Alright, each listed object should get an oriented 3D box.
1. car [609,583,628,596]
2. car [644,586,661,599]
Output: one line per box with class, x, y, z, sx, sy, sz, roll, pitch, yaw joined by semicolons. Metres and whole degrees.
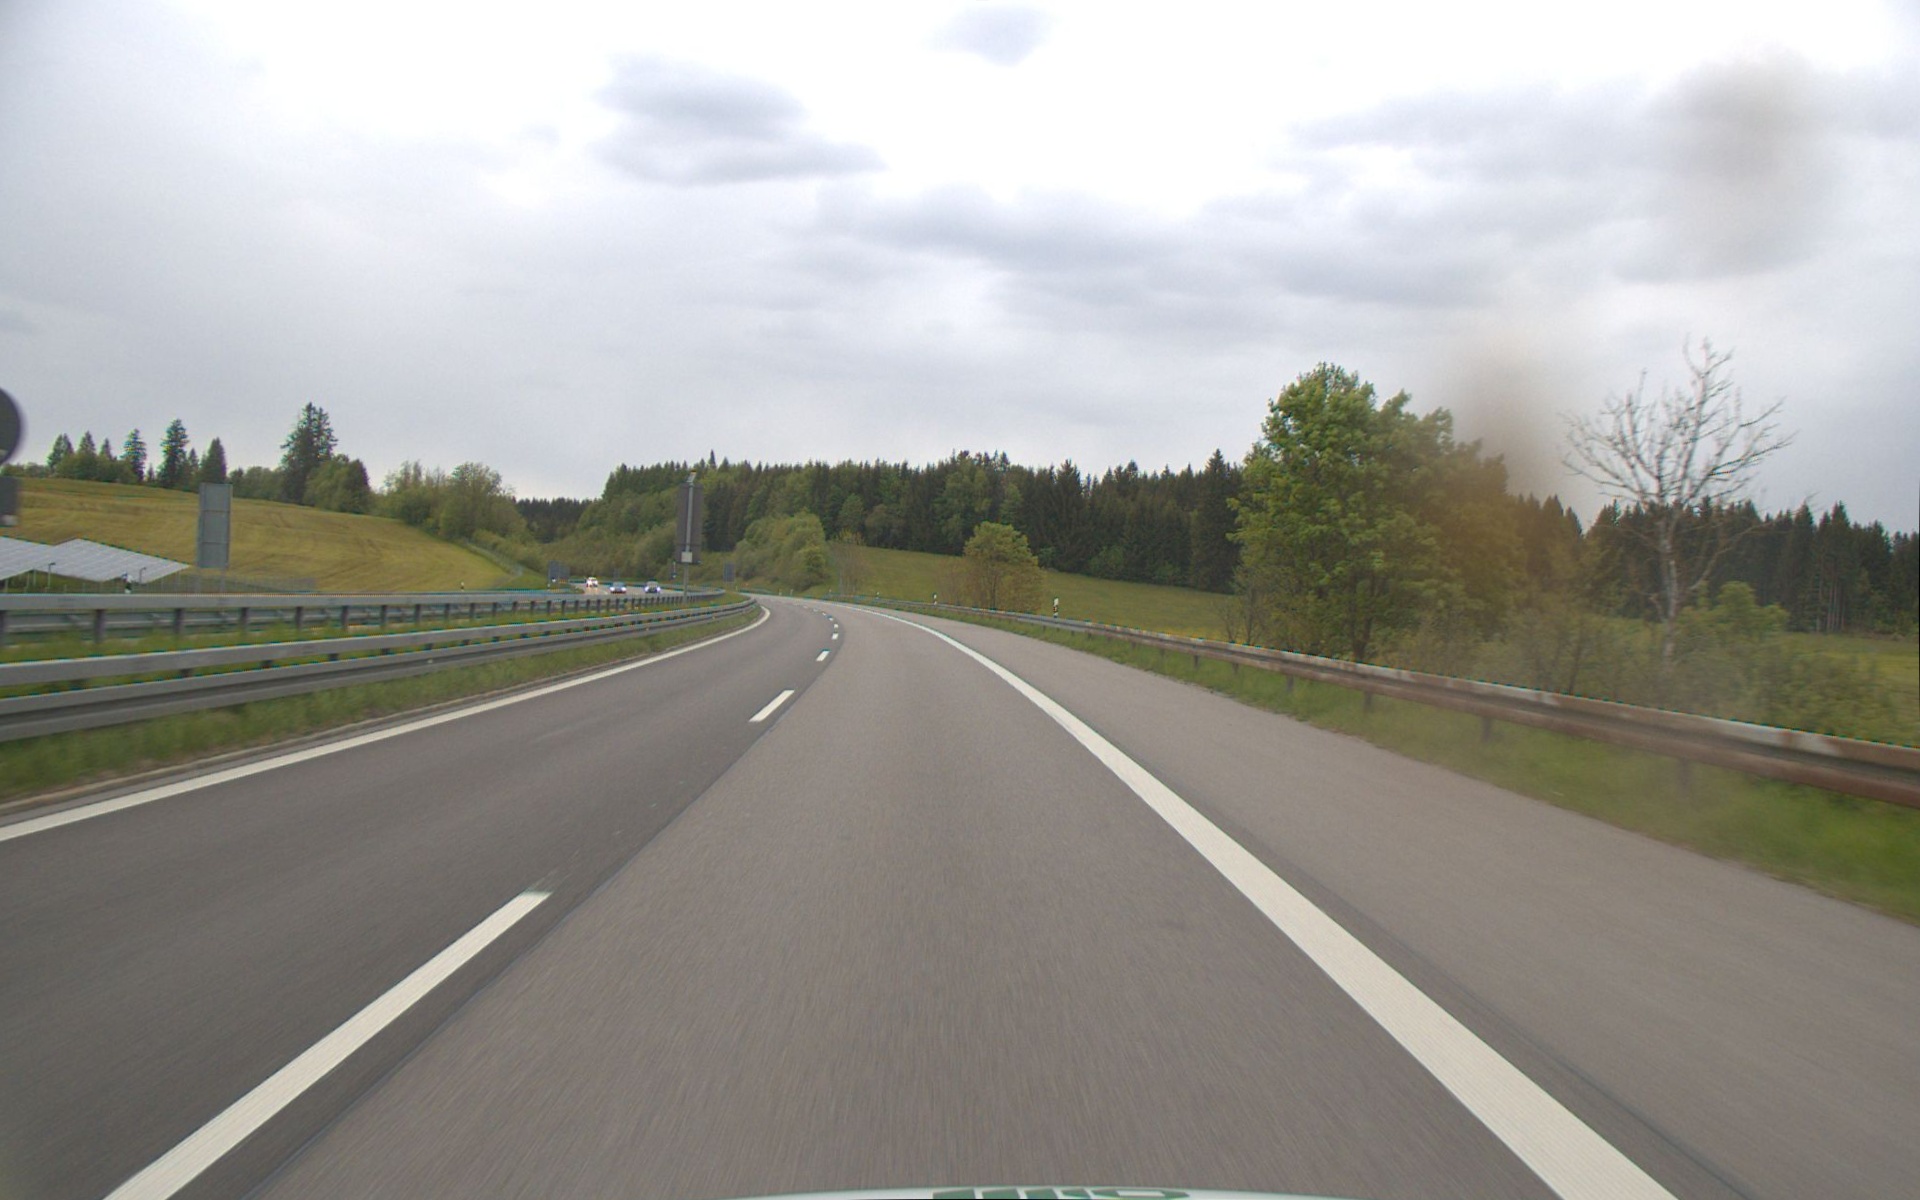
car;-40.781;-1.254;197.606;1.958;1.465;4.987;4;0;-11
car;-37.634;-0.960;202.247;1.958;1.442;3.990;4;0;-11
